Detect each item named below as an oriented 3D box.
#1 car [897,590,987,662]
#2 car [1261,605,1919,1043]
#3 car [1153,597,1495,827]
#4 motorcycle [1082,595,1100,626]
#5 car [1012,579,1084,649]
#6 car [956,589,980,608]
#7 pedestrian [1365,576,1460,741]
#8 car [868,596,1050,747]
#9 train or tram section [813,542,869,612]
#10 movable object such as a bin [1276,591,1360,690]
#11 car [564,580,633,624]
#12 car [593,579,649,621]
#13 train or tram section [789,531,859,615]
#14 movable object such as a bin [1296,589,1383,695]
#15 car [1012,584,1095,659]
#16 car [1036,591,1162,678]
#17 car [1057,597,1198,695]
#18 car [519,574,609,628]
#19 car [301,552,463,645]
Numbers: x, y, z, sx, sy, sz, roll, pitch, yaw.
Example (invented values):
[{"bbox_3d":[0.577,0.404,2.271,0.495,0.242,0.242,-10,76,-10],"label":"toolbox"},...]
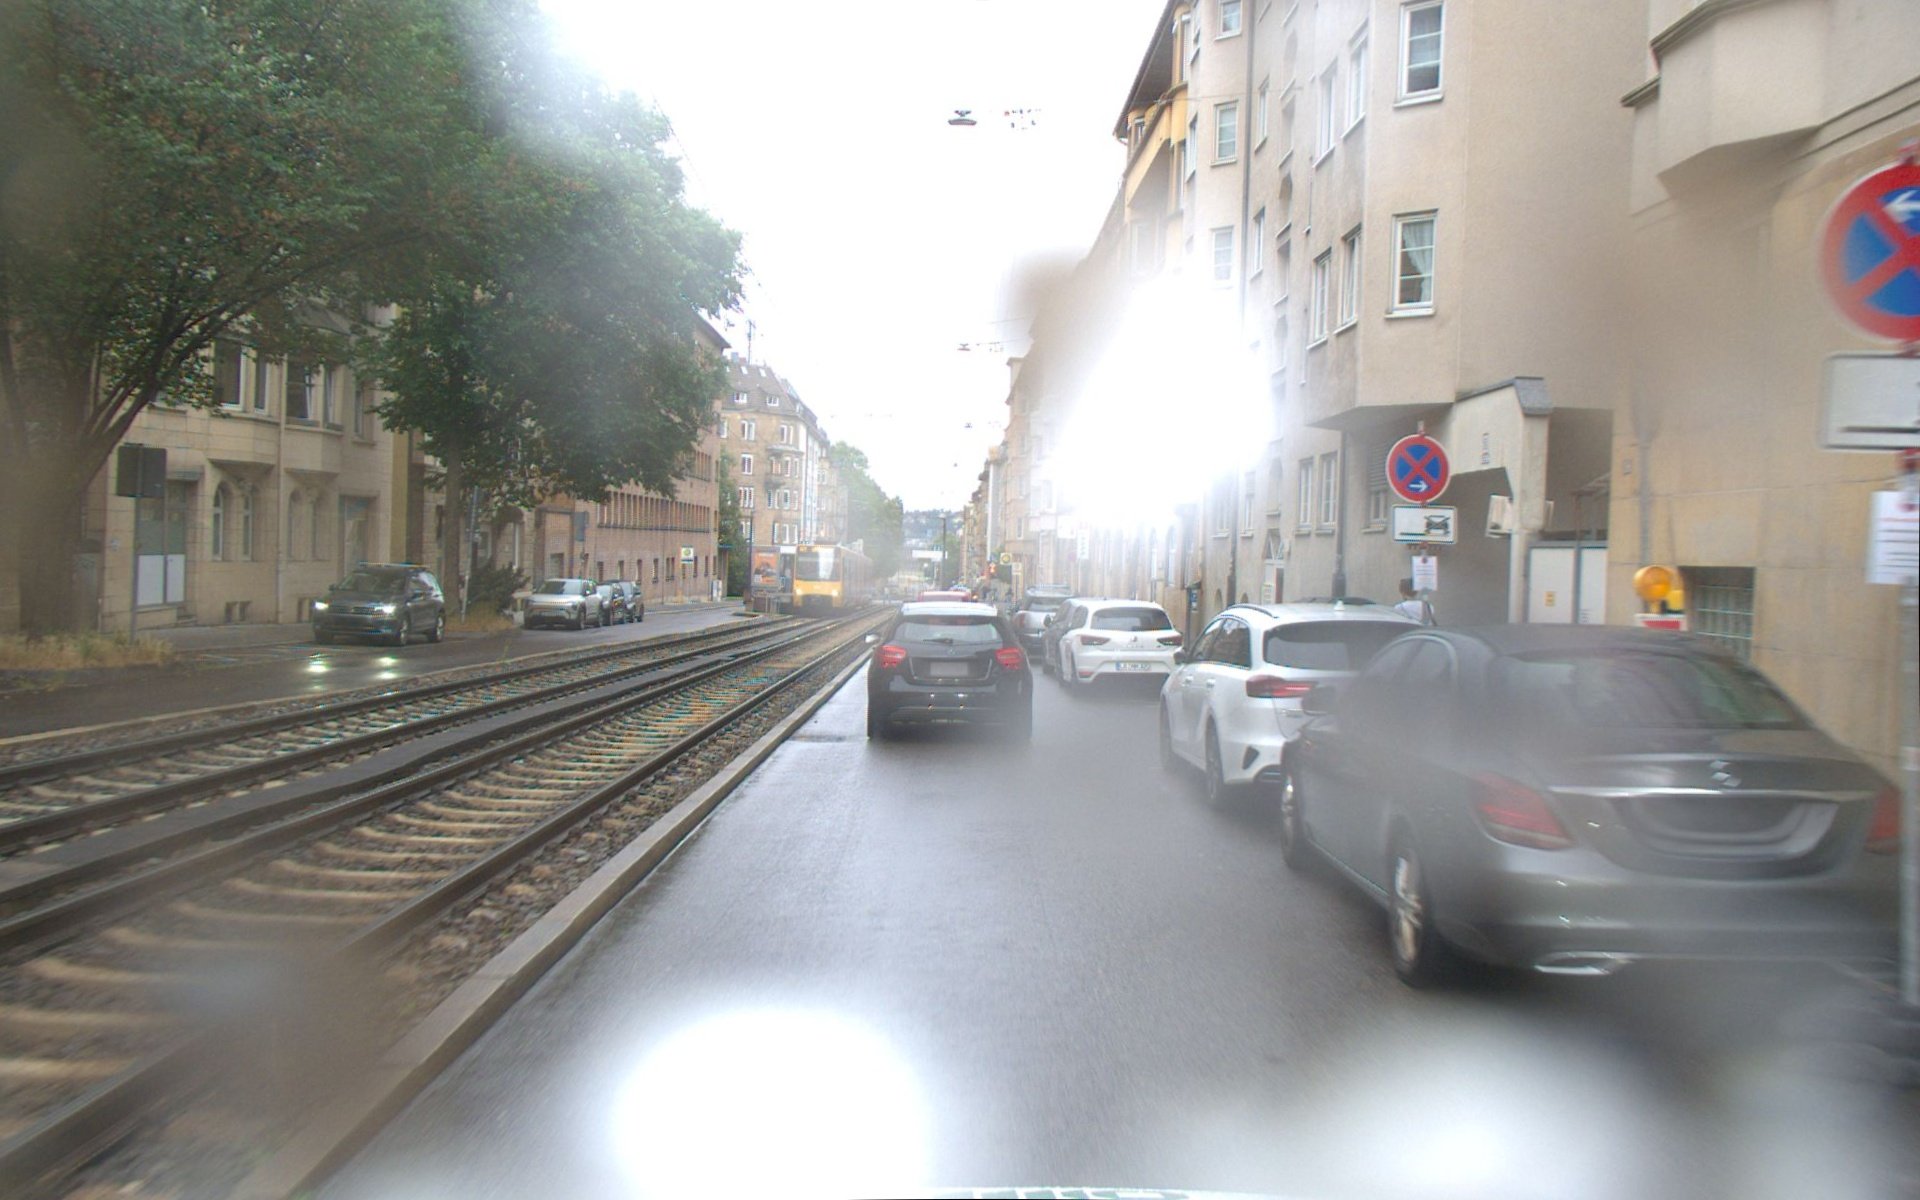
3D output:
[{"bbox_3d":[-0.411,0.588,39.166,1.953,1.552,4.245,2,0,0],"label":"car"},{"bbox_3d":[2.680,0.764,7.924,1.675,1.435,4.818,1,0,1],"label":"car"},{"bbox_3d":[2.681,0.756,13.292,1.677,1.493,4.773,1,0,0],"label":"car"},{"bbox_3d":[5.368,0.414,67.895,0.545,1.180,2.269,-3,1,2],"label":"motorcycle"},{"bbox_3d":[2.349,0.375,45.001,1.742,1.780,4.548,1,0,0],"label":"car"},{"bbox_3d":[0.658,-0.118,138.148,1.848,1.552,4.246,2,0,1],"label":"car"},{"bbox_3d":[4.822,0.613,17.673,0.788,1.717,0.754,1,-1,-1],"label":"pedestrian"},{"bbox_3d":[-0.021,0.713,18.474,1.797,1.478,3.901,1,0,0],"label":"car"},{"bbox_3d":[-7.538,-1.441,106.575,2.690,4.132,15.657,1,0,-1],"label":"train or tram section"},{"bbox_3d":[5.541,0.618,25.663,0.997,1.494,1.322,1,-1,-1],"label":"movable object such as a bin"},{"bbox_3d":[-12.801,0.044,58.760,1.633,1.440,3.687,2,1,-1],"label":"car"},{"bbox_3d":[-12.788,-0.022,62.524,1.540,1.492,3.044,2,1,-2],"label":"car"},{"bbox_3d":[-7.262,-1.393,90.352,2.690,4.132,17.210,1,0,-1],"label":"train or tram section"},{"bbox_3d":[5.530,0.608,24.167,0.960,1.494,1.272,1,-1,-1],"label":"movable object such as a bin"},{"bbox_3d":[2.140,0.494,38.940,1.803,1.636,4.761,1,0,2],"label":"car"},{"bbox_3d":[2.534,0.610,31.021,1.795,1.493,4.373,1,0,-3],"label":"car"},{"bbox_3d":[2.575,0.685,26.351,1.753,1.410,4.394,1,0,-1],"label":"car"},{"bbox_3d":[-12.790,0.013,53.701,1.921,1.633,4.327,2,1,-2],"label":"car"},{"bbox_3d":[-12.607,-0.061,36.435,1.914,1.772,4.777,4,1,-2],"label":"car"}]
